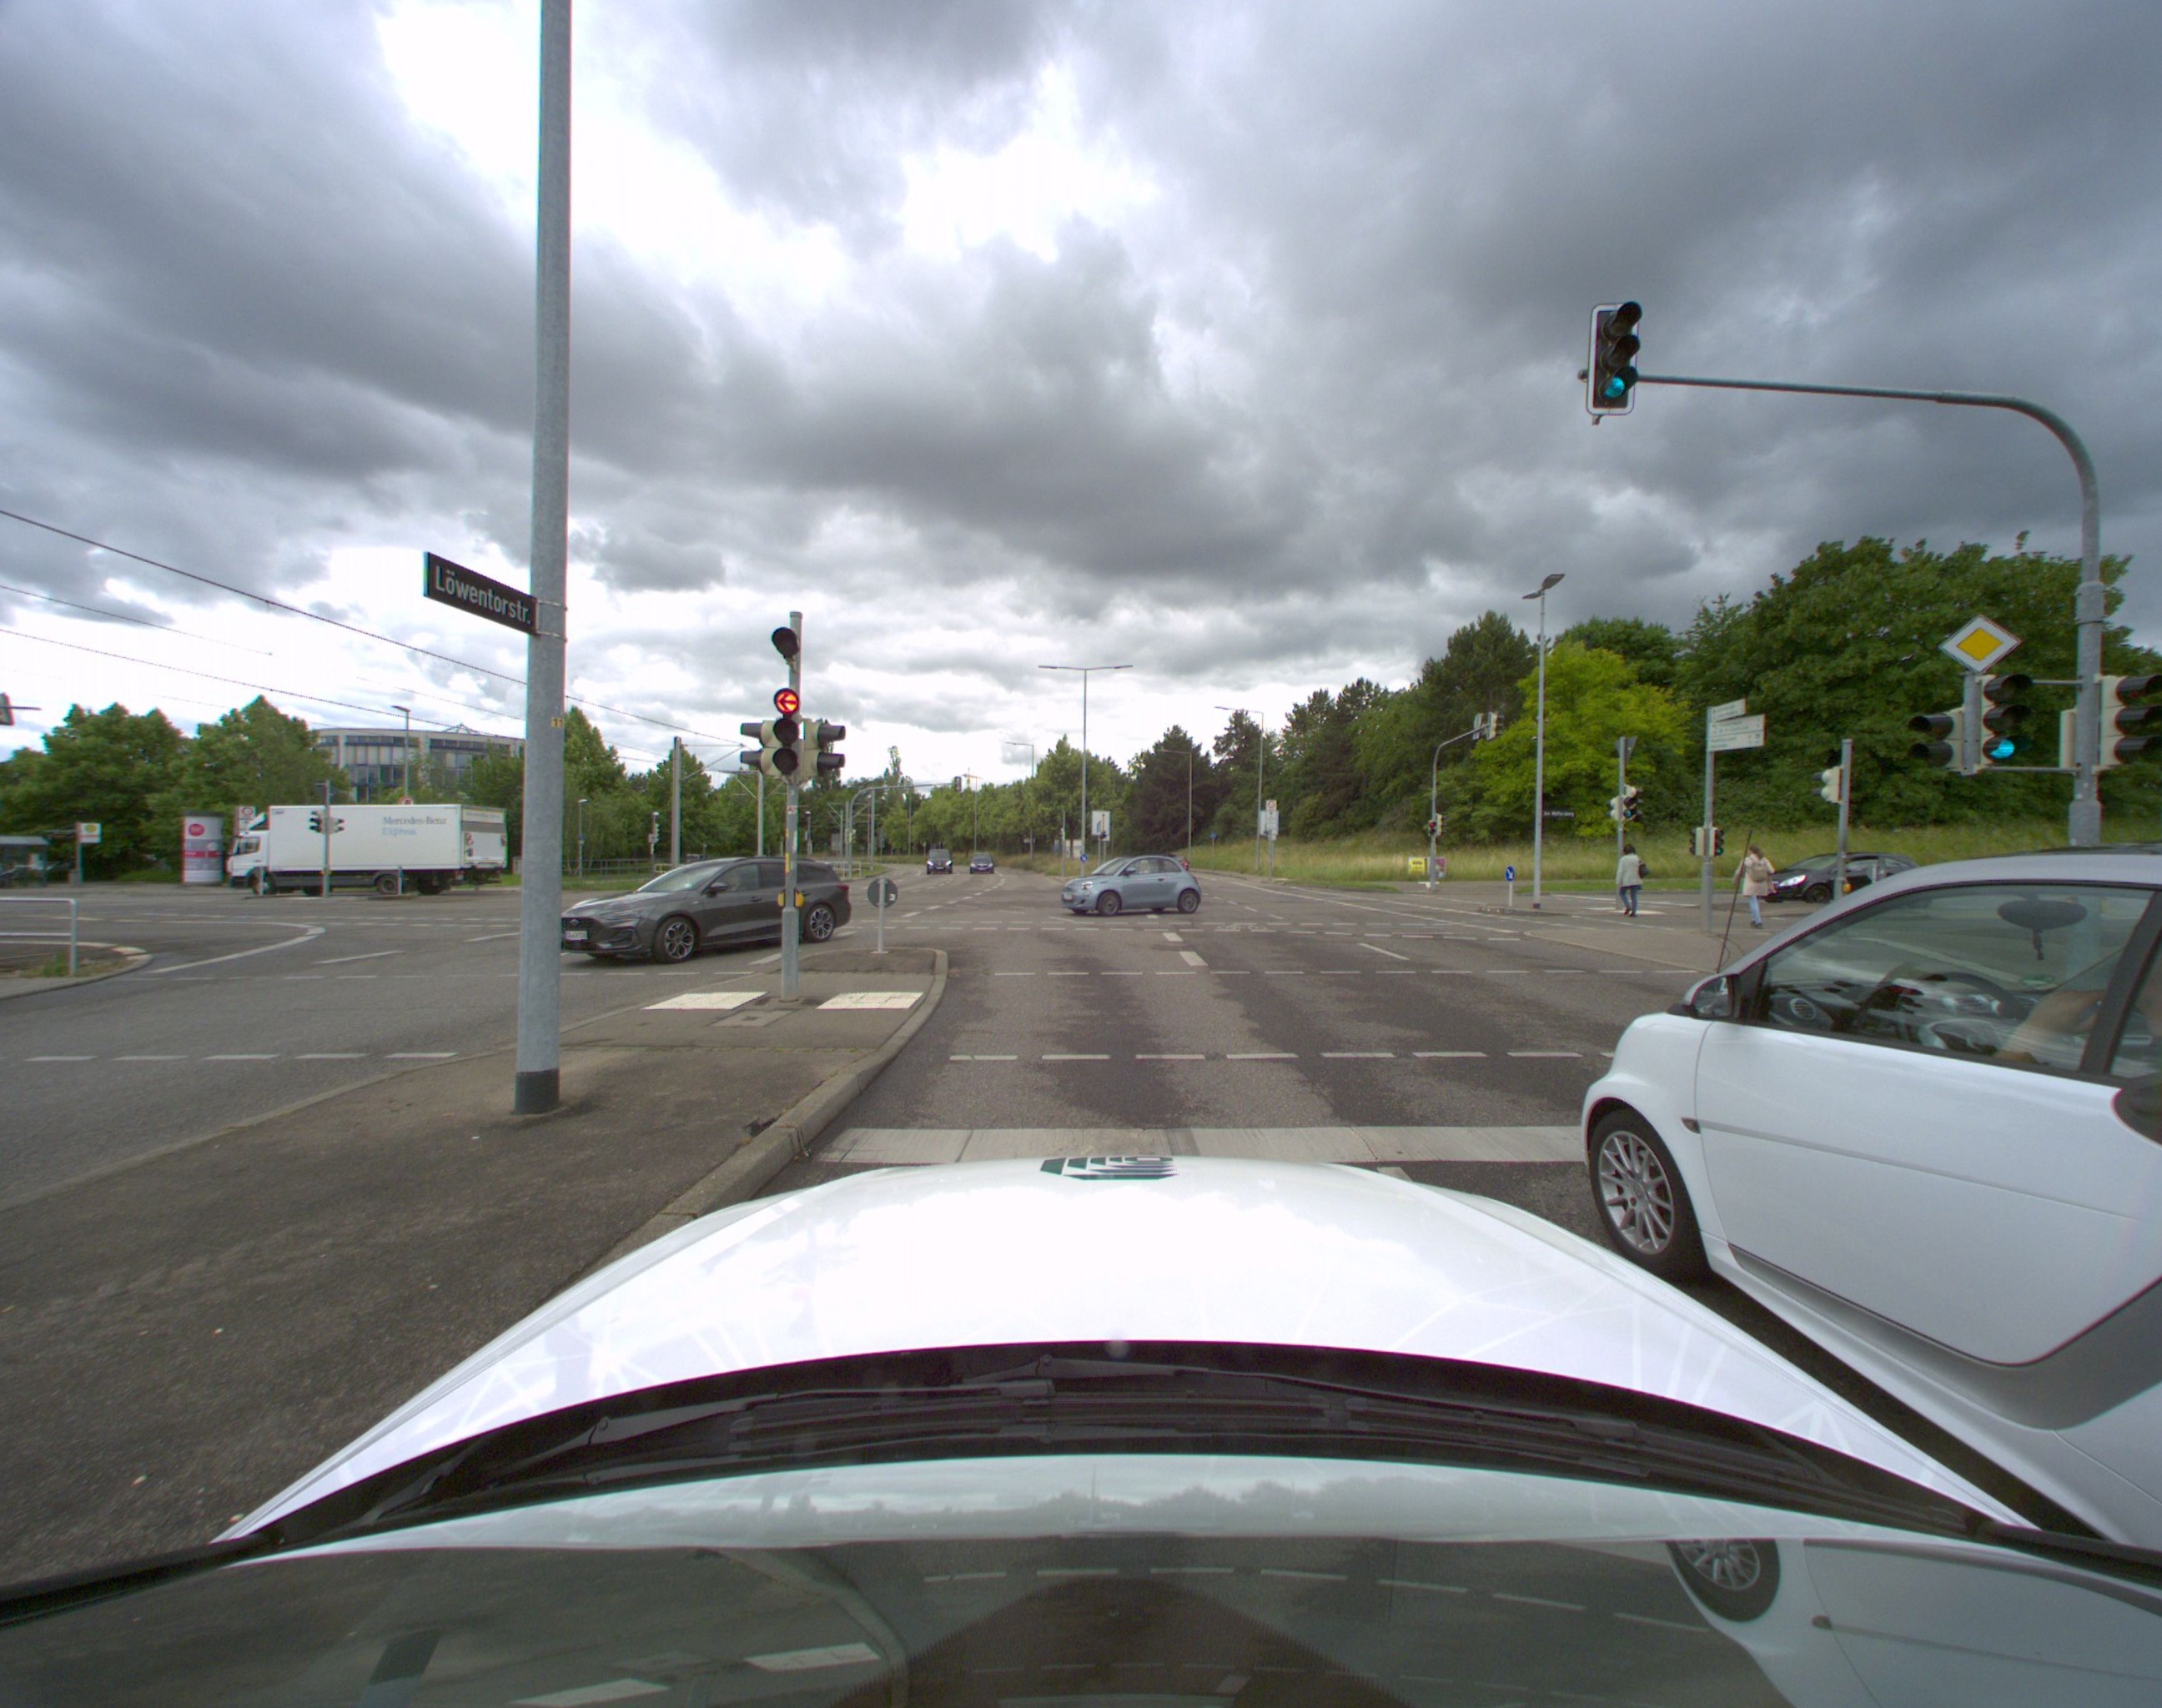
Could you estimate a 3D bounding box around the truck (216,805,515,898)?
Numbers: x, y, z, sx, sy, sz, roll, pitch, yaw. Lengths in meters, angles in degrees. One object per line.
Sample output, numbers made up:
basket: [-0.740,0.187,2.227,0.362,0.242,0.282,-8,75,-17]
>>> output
truck: [-28.794,-0.106,33.115,9.229,3.532,3.014,0,0,-2]

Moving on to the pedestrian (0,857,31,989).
pedestrian: [-12.849,0.802,9.347,0.632,1.536,0.719,0,-1,-2]

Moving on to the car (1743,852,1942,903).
car: [21.112,0.636,22.709,3.859,1.338,1.698,0,-1,4]

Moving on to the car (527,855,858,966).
car: [-5.845,0.750,12.881,1.852,1.424,4.460,-1,-1,30]

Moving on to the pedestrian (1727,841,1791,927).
pedestrian: [12.943,0.560,15.569,0.640,1.612,0.715,0,-1,7]

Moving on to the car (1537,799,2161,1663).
car: [2.722,0.662,2.145,1.585,1.516,2.768,0,-1,3]

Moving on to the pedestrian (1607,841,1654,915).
pedestrian: [12.707,0.550,18.837,0.640,1.662,0.715,-1,-1,8]

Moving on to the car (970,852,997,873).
car: [-7.268,0.648,61.067,1.732,1.508,3.656,0,-1,-3]

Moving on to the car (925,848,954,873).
car: [-10.835,0.486,62.552,1.886,1.812,5.079,-1,0,-7]

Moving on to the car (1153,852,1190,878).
car: [5.844,0.712,52.824,1.780,1.603,3.883,0,-1,-3]

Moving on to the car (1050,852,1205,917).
car: [1.204,0.734,20.936,3.609,1.528,1.746,0,-1,-27]

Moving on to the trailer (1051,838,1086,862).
trailer: [-1.689,-0.515,104.494,2.755,3.012,6.047,0,-1,-19]
